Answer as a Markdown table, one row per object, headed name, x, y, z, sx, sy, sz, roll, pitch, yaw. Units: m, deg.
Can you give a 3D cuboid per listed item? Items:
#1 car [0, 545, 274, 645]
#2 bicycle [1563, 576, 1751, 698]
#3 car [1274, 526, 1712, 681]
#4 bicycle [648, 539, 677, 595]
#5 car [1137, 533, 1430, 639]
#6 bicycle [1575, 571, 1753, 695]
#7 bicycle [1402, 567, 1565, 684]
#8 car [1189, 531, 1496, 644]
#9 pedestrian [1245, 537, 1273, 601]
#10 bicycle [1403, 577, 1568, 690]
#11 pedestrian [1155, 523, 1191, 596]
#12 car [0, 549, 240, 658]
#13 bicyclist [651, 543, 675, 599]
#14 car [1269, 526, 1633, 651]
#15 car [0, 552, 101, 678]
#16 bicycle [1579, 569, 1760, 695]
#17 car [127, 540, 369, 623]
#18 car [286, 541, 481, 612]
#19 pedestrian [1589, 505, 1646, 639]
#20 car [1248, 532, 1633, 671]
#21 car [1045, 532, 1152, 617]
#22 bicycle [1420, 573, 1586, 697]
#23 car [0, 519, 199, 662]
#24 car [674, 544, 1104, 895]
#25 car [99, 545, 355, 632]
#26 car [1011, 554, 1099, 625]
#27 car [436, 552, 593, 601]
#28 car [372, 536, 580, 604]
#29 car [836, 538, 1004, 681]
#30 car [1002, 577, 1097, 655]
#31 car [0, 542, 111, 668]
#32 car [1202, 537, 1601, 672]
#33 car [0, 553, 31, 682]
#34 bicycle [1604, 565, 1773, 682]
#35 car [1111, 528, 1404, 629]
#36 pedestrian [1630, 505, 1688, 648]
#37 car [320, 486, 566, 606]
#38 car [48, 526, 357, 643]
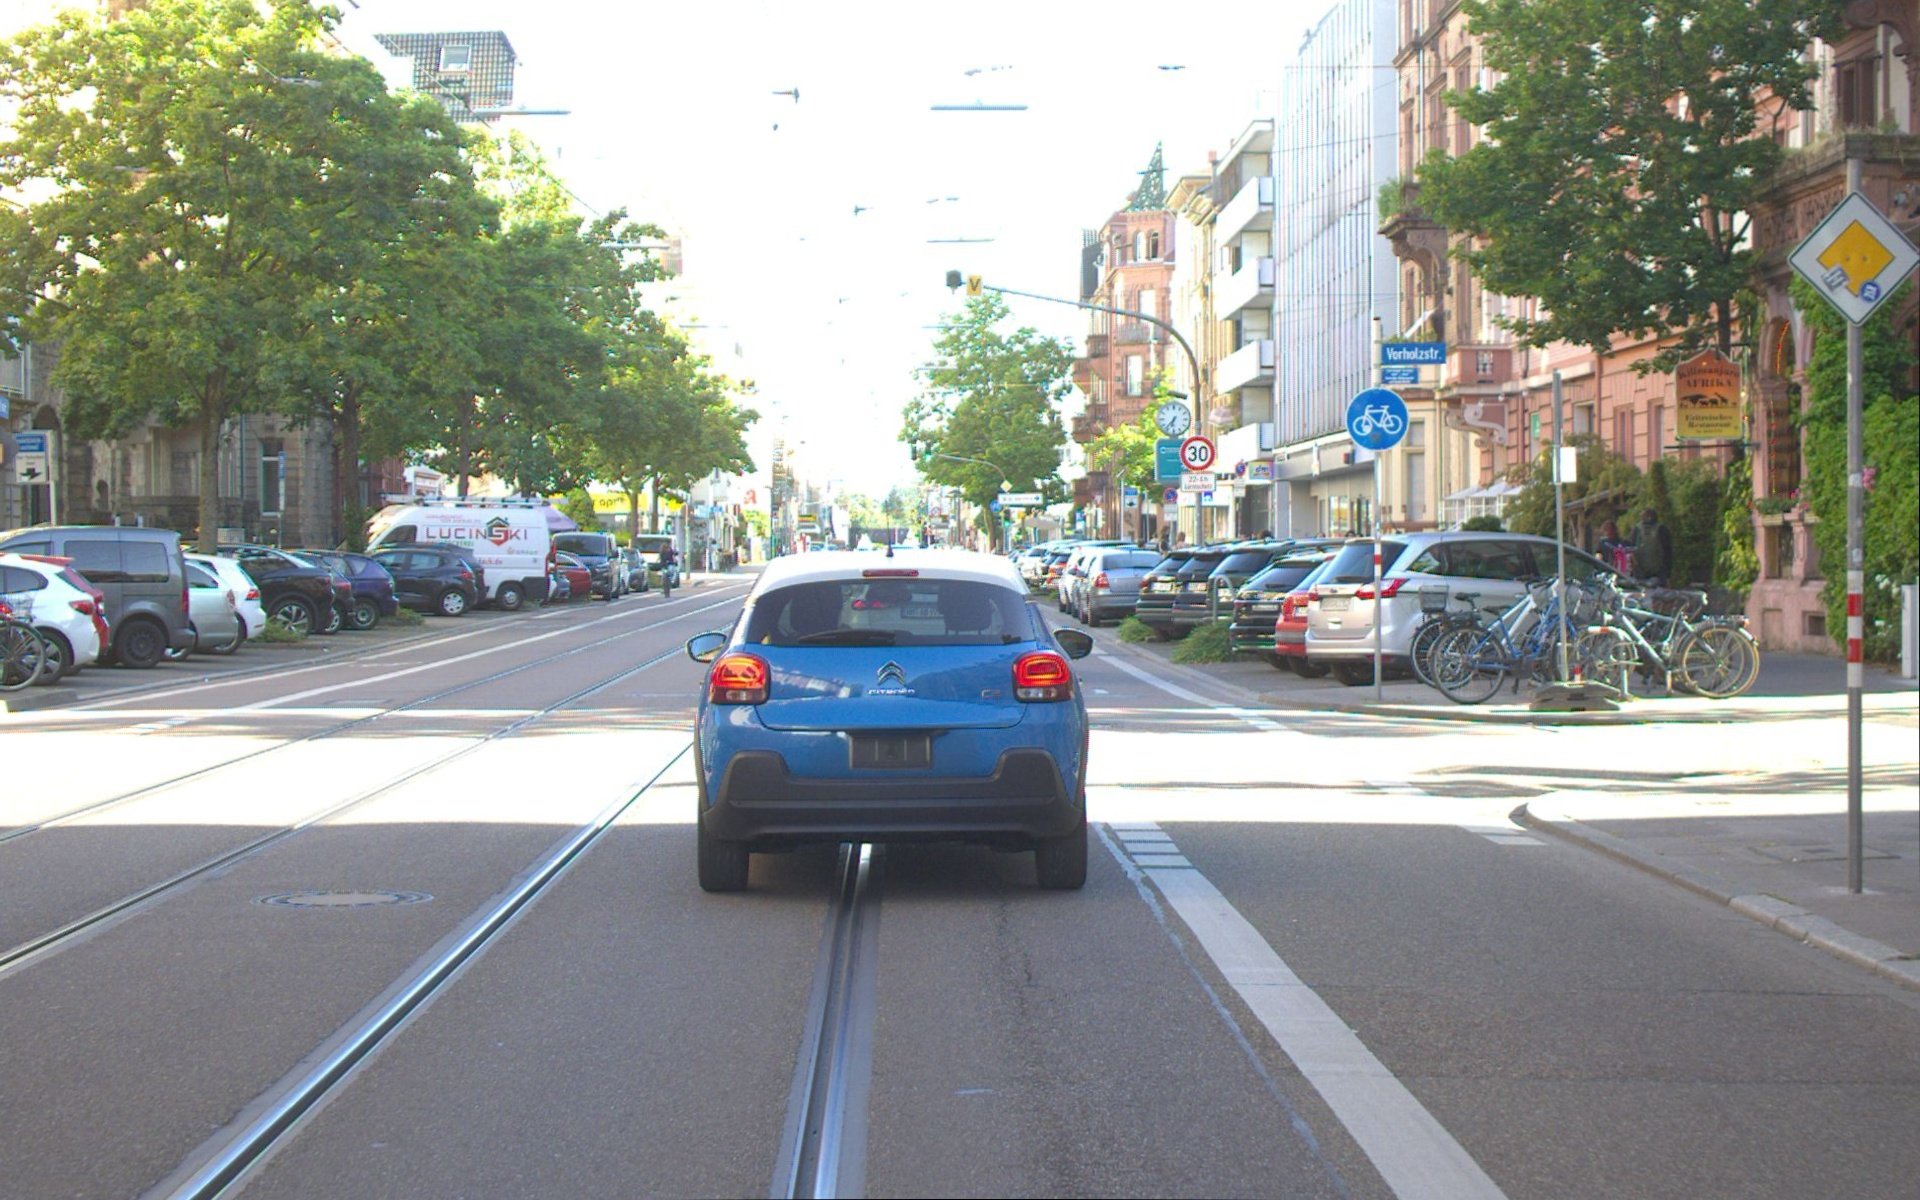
| name | x | y | z | sx | sy | sz | roll | pitch | yaw |
| --- | --- | --- | --- | --- | --- | --- | --- | --- | --- |
| car | -12.154 | -0.077 | 50.245 | 3.831 | 1.425 | 1.766 | 0 | 1 | -26 |
| bicycle | 6.570 | 0.339 | 32.460 | 1.675 | 1.123 | 0.551 | 1 | 0 | 6 |
| car | 5.741 | 0.029 | 37.025 | 4.350 | 1.590 | 1.854 | 0 | 1 | -25 |
| bicycle | -8.903 | -0.989 | 102.964 | 0.680 | 1.673 | 2.097 | 1 | 1 | -1 |
| car | 4.995 | -0.215 | 53.113 | 3.986 | 1.590 | 2.088 | 0 | 1 | -25 |
| bicycle | 6.521 | 0.297 | 31.883 | 1.556 | 1.123 | 0.528 | 1 | 0 | 6 |
| bicycle | 5.126 | 0.247 | 33.716 | 1.560 | 1.123 | 0.294 | 1 | 0 | 6 |
| car | 5.575 | -0.178 | 50.127 | 3.986 | 1.590 | 1.960 | 0 | 1 | -25 |
| pedestrian | 8.233 | -0.854 | 94.762 | 0.692 | 1.750 | 0.678 | 1 | 0 | -1 |
| bicycle | 5.097 | 0.323 | 33.391 | 1.556 | 1.075 | 0.307 | 1 | 0 | 6 |
| pedestrian | 4.713 | -0.904 | 76.069 | 0.712 | 1.601 | 0.654 | 1 | 0 | -1 |
| car | -12.011 | 0.039 | 46.750 | 4.006 | 1.444 | 1.699 | 0 | 1 | -33 |
| bicyclist | -8.898 | -0.865 | 103.036 | 0.634 | 1.675 | 0.727 | 1 | 0 | -1 |
| car | 6.465 | -0.149 | 45.296 | 4.317 | 1.590 | 2.046 | 0 | 1 | -25 |
| car | -11.709 | 0.154 | 38.304 | 3.780 | 1.395 | 1.755 | 0 | 1 | -33 |
| bicycle | 6.453 | 0.283 | 31.306 | 1.556 | 1.123 | 0.551 | 1 | 0 | 6 |
| car | -13.067 | -0.334 | 63.091 | 3.986 | 1.484 | 1.806 | 0 | 1 | -28 |
| car | -12.530 | -0.514 | 74.667 | 3.986 | 1.484 | 1.807 | 0 | 1 | -17 |
| pedestrian | 8.156 | -0.348 | 42.681 | 0.518 | 1.643 | 0.864 | 1 | 0 | -1 |
| car | 5.539 | 0.013 | 39.635 | 3.986 | 1.531 | 1.919 | 0 | 1 | -25 |
| car | 2.687 | -0.516 | 67.744 | 1.873 | 1.590 | 4.719 | 1 | 1 | 0 |
| bicycle | 4.994 | 0.322 | 31.639 | 1.397 | 1.123 | 0.551 | 0 | 0 | -12 |
| car | -11.873 | -0.129 | 44.002 | 3.810 | 1.778 | 1.797 | 0 | 1 | -29 |
| car | -0.327 | 0.474 | 15.987 | 1.762 | 1.436 | 3.557 | 1 | 1 | -1 |
| car | -12.814 | -0.202 | 60.178 | 3.987 | 1.484 | 1.806 | 0 | 1 | -33 |
| car | 2.162 | -0.257 | 79.020 | 1.873 | 1.590 | 4.000 | 1 | 1 | 0 |
| car | -11.717 | -0.611 | 90.392 | 3.796 | 1.261 | 1.516 | 0 | 1 | -26 |
| car | -11.858 | -0.737 | 84.312 | 4.756 | 1.612 | 1.712 | 0 | 1 | -33 |
| car | -0.463 | 0.081 | 40.602 | 1.873 | 1.590 | 4.000 | 1 | 1 | 0 |
| car | 1.881 | 0.315 | 73.443 | 1.873 | 1.590 | 4.000 | 1 | 1 | 0 |
| car | -12.102 | 0.055 | 41.130 | 3.459 | 1.468 | 1.649 | -1 | 1 | -29 |
| car | 5.444 | 0.044 | 42.413 | 4.433 | 1.590 | 2.089 | 0 | 1 | -25 |
| car | -11.533 | 0.171 | 35.369 | 3.460 | 1.333 | 1.624 | 0 | 1 | -35 |
| bicycle | 7.119 | 0.226 | 33.639 | 1.556 | 1.123 | 0.551 | 1 | 0 | 6 |
| car | 4.815 | -0.342 | 55.703 | 4.302 | 1.590 | 1.983 | 0 | 1 | -25 |
| pedestrian | 8.755 | -0.296 | 43.084 | 0.518 | 1.772 | 0.864 | 1 | 0 | -1 |
| car | -12.063 | -1.240 | 80.369 | 5.370 | 2.739 | 1.806 | 0 | 1 | -30 |
| car | -11.995 | -0.247 | 54.486 | 4.353 | 1.777 | 1.996 | 0 | 1 | -33 |
